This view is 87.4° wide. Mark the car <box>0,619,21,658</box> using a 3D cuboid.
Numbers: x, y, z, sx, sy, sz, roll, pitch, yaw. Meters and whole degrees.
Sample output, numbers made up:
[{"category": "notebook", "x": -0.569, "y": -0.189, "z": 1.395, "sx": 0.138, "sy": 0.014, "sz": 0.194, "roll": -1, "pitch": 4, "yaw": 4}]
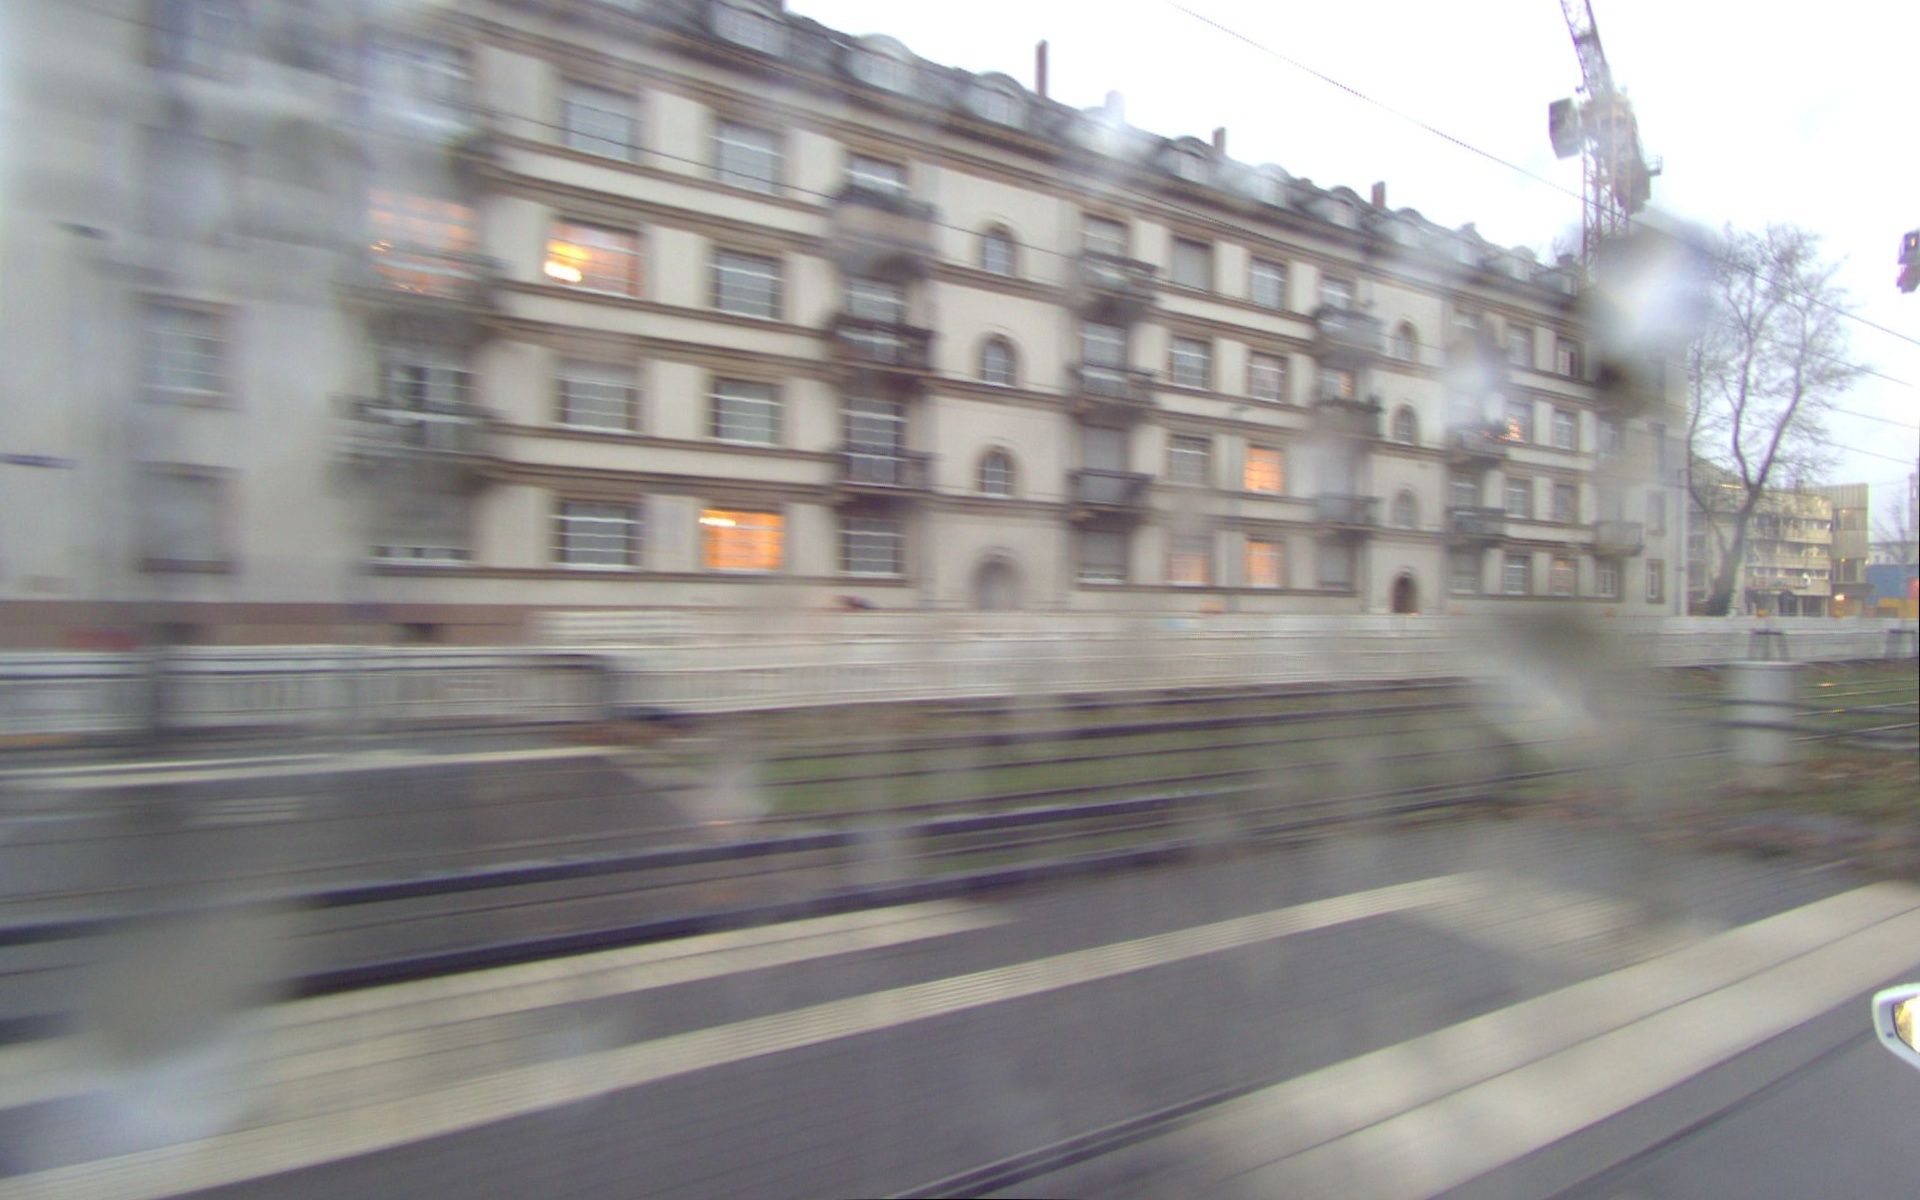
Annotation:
[{"category": "car", "x": -37.450, "y": 1.438, "z": 37.507, "sx": 3.283, "sy": 1.444, "sz": 1.444, "roll": 1, "pitch": -1, "yaw": -35}]

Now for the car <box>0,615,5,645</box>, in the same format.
[{"category": "car", "x": -47.974, "y": 1.438, "z": 47.945, "sx": 3.283, "sy": 1.444, "sz": 1.444, "roll": 1, "pitch": -1, "yaw": -35}]
